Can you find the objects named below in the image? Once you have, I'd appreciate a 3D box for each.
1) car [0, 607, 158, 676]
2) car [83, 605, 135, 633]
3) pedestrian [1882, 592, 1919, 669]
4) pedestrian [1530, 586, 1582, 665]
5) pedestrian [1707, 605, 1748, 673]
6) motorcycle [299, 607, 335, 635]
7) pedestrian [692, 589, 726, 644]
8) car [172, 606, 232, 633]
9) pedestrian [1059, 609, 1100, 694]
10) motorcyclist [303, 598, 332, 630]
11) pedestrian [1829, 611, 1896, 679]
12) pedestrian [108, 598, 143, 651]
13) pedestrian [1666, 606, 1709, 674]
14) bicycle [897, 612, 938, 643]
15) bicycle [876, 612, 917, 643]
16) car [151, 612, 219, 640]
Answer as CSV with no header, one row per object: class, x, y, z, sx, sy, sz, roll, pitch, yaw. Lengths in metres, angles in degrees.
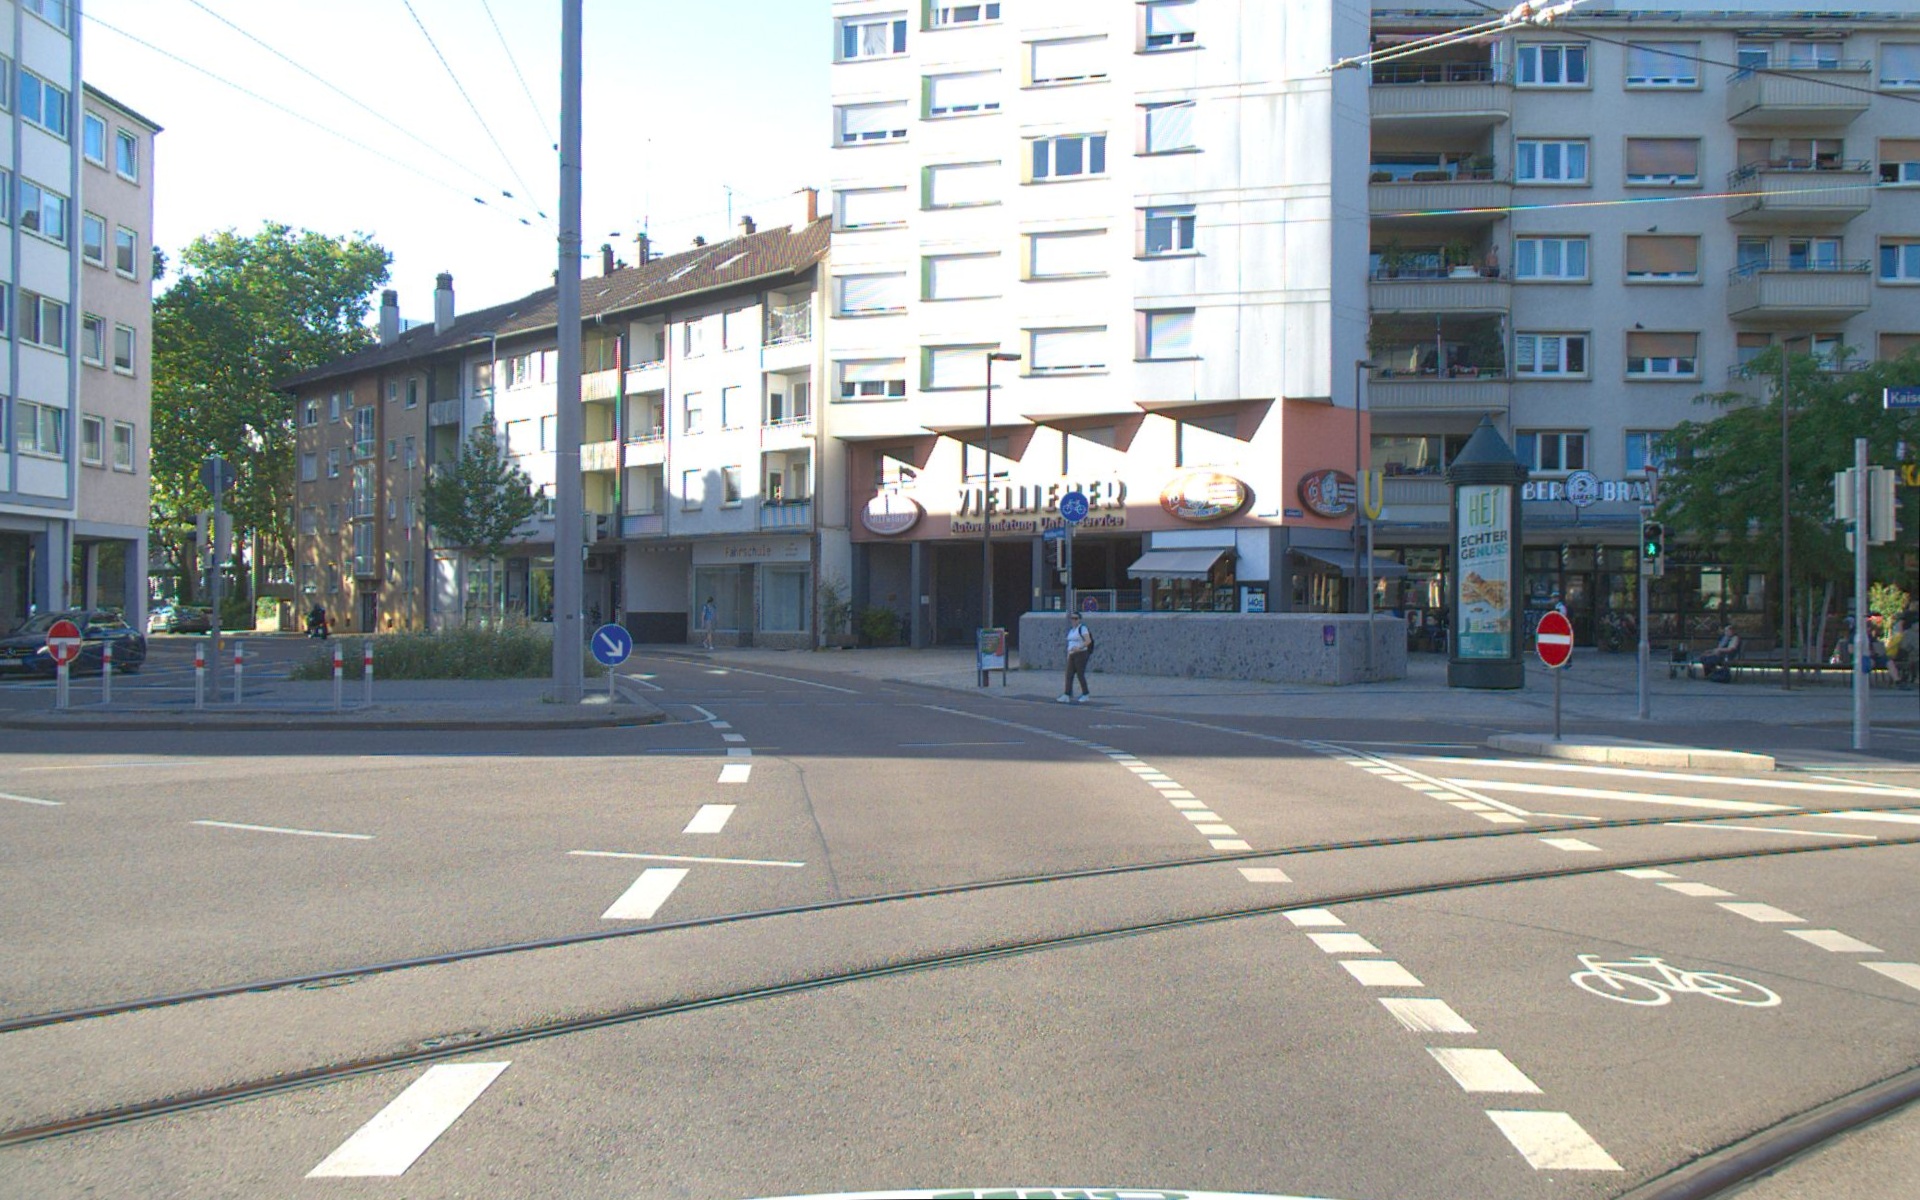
car,-19.574,0.894,36.333,1.796,1.410,4.593,0,-1,-3
car,-56.685,1.238,110.137,2.024,1.790,4.026,1,-1,-44
pedestrian,22.100,0.710,38.629,0.668,1.776,0.716,0,-1,-10
pedestrian,14.344,0.612,39.818,1.020,1.899,0.687,0,-1,3
pedestrian,16.765,0.844,36.116,0.705,1.445,0.927,0,0,32
motorcycle,-27.830,0.889,71.645,0.956,1.151,2.797,2,-1,-11
pedestrian,-8.900,0.581,58.654,0.728,1.887,0.932,-2,0,-45
car,-44.807,1.134,97.726,2.024,1.531,4.026,1,-1,-44
pedestrian,2.287,0.976,31.607,0.536,1.611,0.548,1,-1,-42
motorcyclist,-27.814,0.603,71.587,0.953,1.371,1.134,2,-1,-12
pedestrian,18.823,0.936,34.528,0.705,1.389,1.106,1,0,-8
pedestrian,-28.104,0.821,55.696,0.762,1.754,0.803,0,-2,42
pedestrian,16.269,0.886,36.973,0.706,1.471,0.926,0,0,36
bicycle,-1.482,0.951,57.927,0.492,1.057,1.612,1,-1,-44
bicycle,-2.226,0.944,57.510,0.492,1.057,1.612,1,-1,-44
car,-40.010,1.344,85.336,3.931,1.413,1.917,0,-1,44
